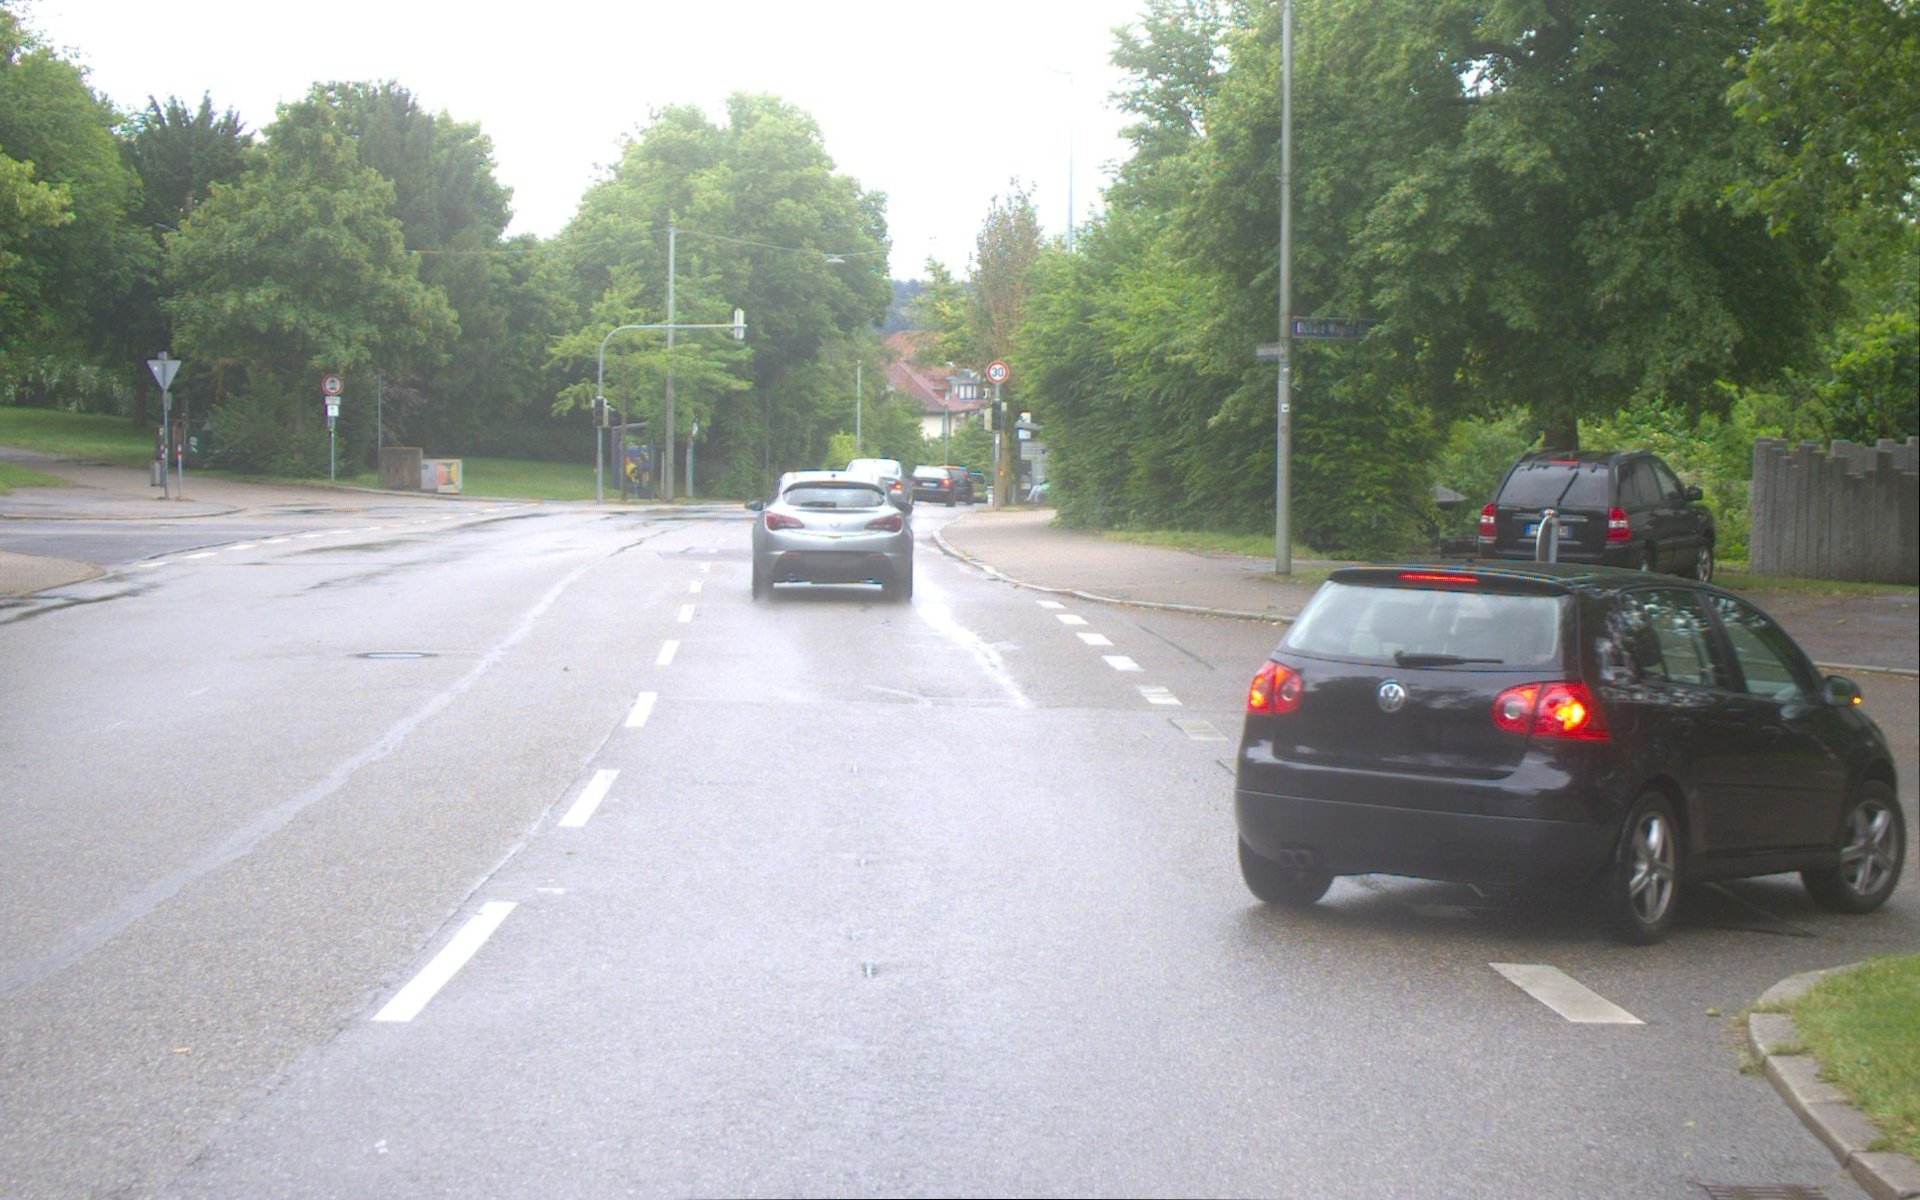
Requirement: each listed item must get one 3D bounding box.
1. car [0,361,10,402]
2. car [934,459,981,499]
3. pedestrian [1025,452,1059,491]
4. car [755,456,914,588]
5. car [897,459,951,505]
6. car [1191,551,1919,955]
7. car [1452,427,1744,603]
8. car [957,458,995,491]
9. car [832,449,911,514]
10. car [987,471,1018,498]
[{"bbox_3d":[-37.803,-8.265,129.134,3.895,1.481,1.936,1,2,-20],"label":"car"},{"bbox_3d":[-0.097,-4.832,136.726,1.721,1.459,4.000,4,2,0],"label":"car"},{"bbox_3d":[2.873,-4.485,120.035,1.074,1.351,0.918,0,2,9],"label":"pedestrian"},{"bbox_3d":[-1.488,-0.934,40.265,1.754,1.459,4.001,1,2,-3],"label":"car"},{"bbox_3d":[-1.251,-4.154,120.296,1.721,1.459,4.000,4,2,0],"label":"car"},{"bbox_3d":[2.719,0.560,14.792,1.725,1.459,3.993,2,1,32],"label":"car"},{"bbox_3d":[7.395,-1.040,39.450,1.950,1.683,4.897,4,6,26],"label":"car"},{"bbox_3d":[0.784,-6.100,166.979,1.721,1.459,4.000,4,2,0],"label":"car"},{"bbox_3d":[-2.192,-2.977,86.014,1.721,1.459,4.000,4,2,0],"label":"car"},{"bbox_3d":[2.527,-6.881,204.591,1.721,1.459,4.000,4,2,0],"label":"car"}]
